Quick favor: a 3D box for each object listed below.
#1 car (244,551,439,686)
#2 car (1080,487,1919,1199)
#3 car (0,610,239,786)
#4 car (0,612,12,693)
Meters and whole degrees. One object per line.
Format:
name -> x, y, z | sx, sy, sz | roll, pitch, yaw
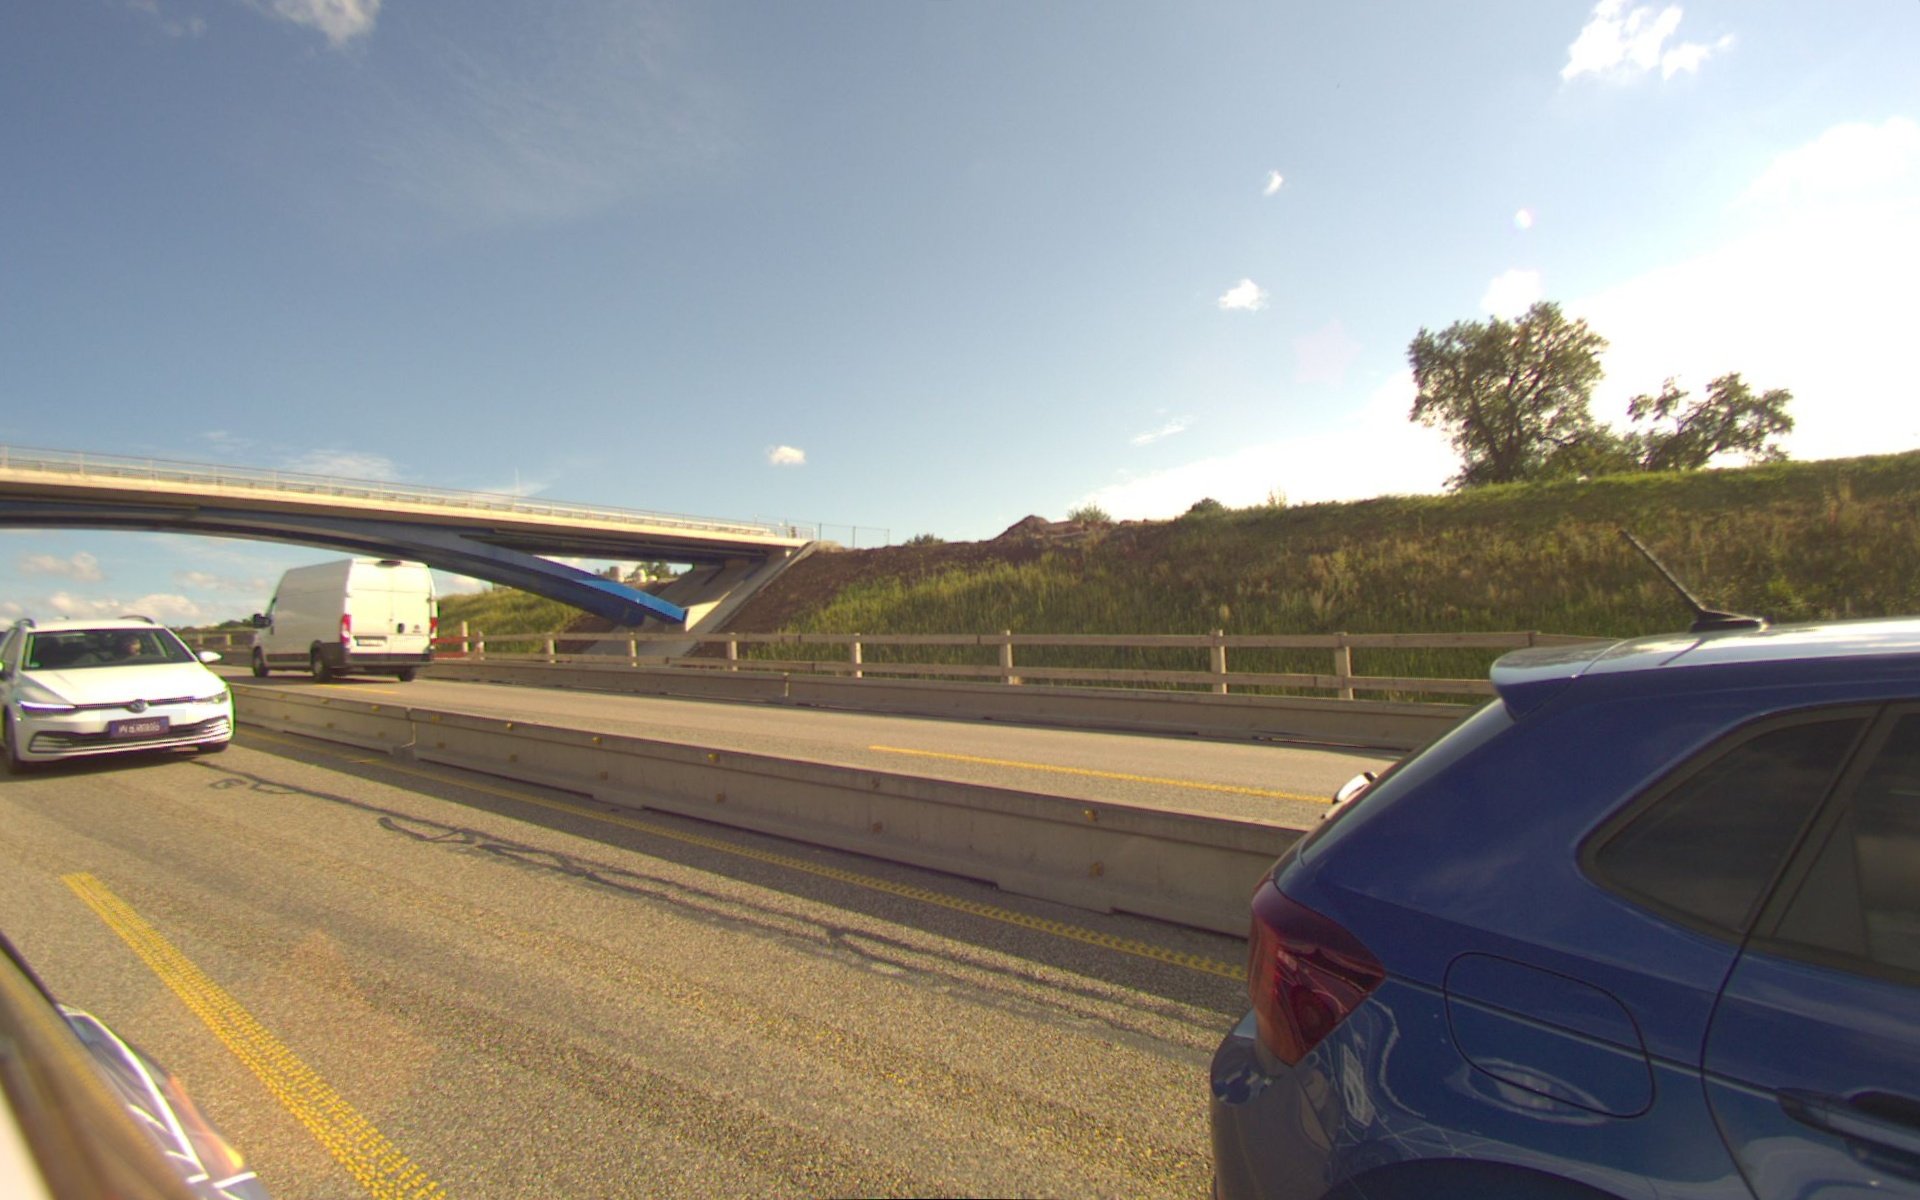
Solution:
car -> -14.896, 0.483, 24.203 | 6.134, 2.857, 2.088 | -1, -3, 41
car -> 2.260, 0.618, 0.985 | 3.999, 1.519, 1.697 | -1, 0, 42
car -> -9.548, 0.909, 11.046 | 4.372, 1.507, 1.802 | -1, 0, 42
car -> -22.196, 1.165, 22.065 | 4.258, 1.689, 1.831 | -1, 1, 42
